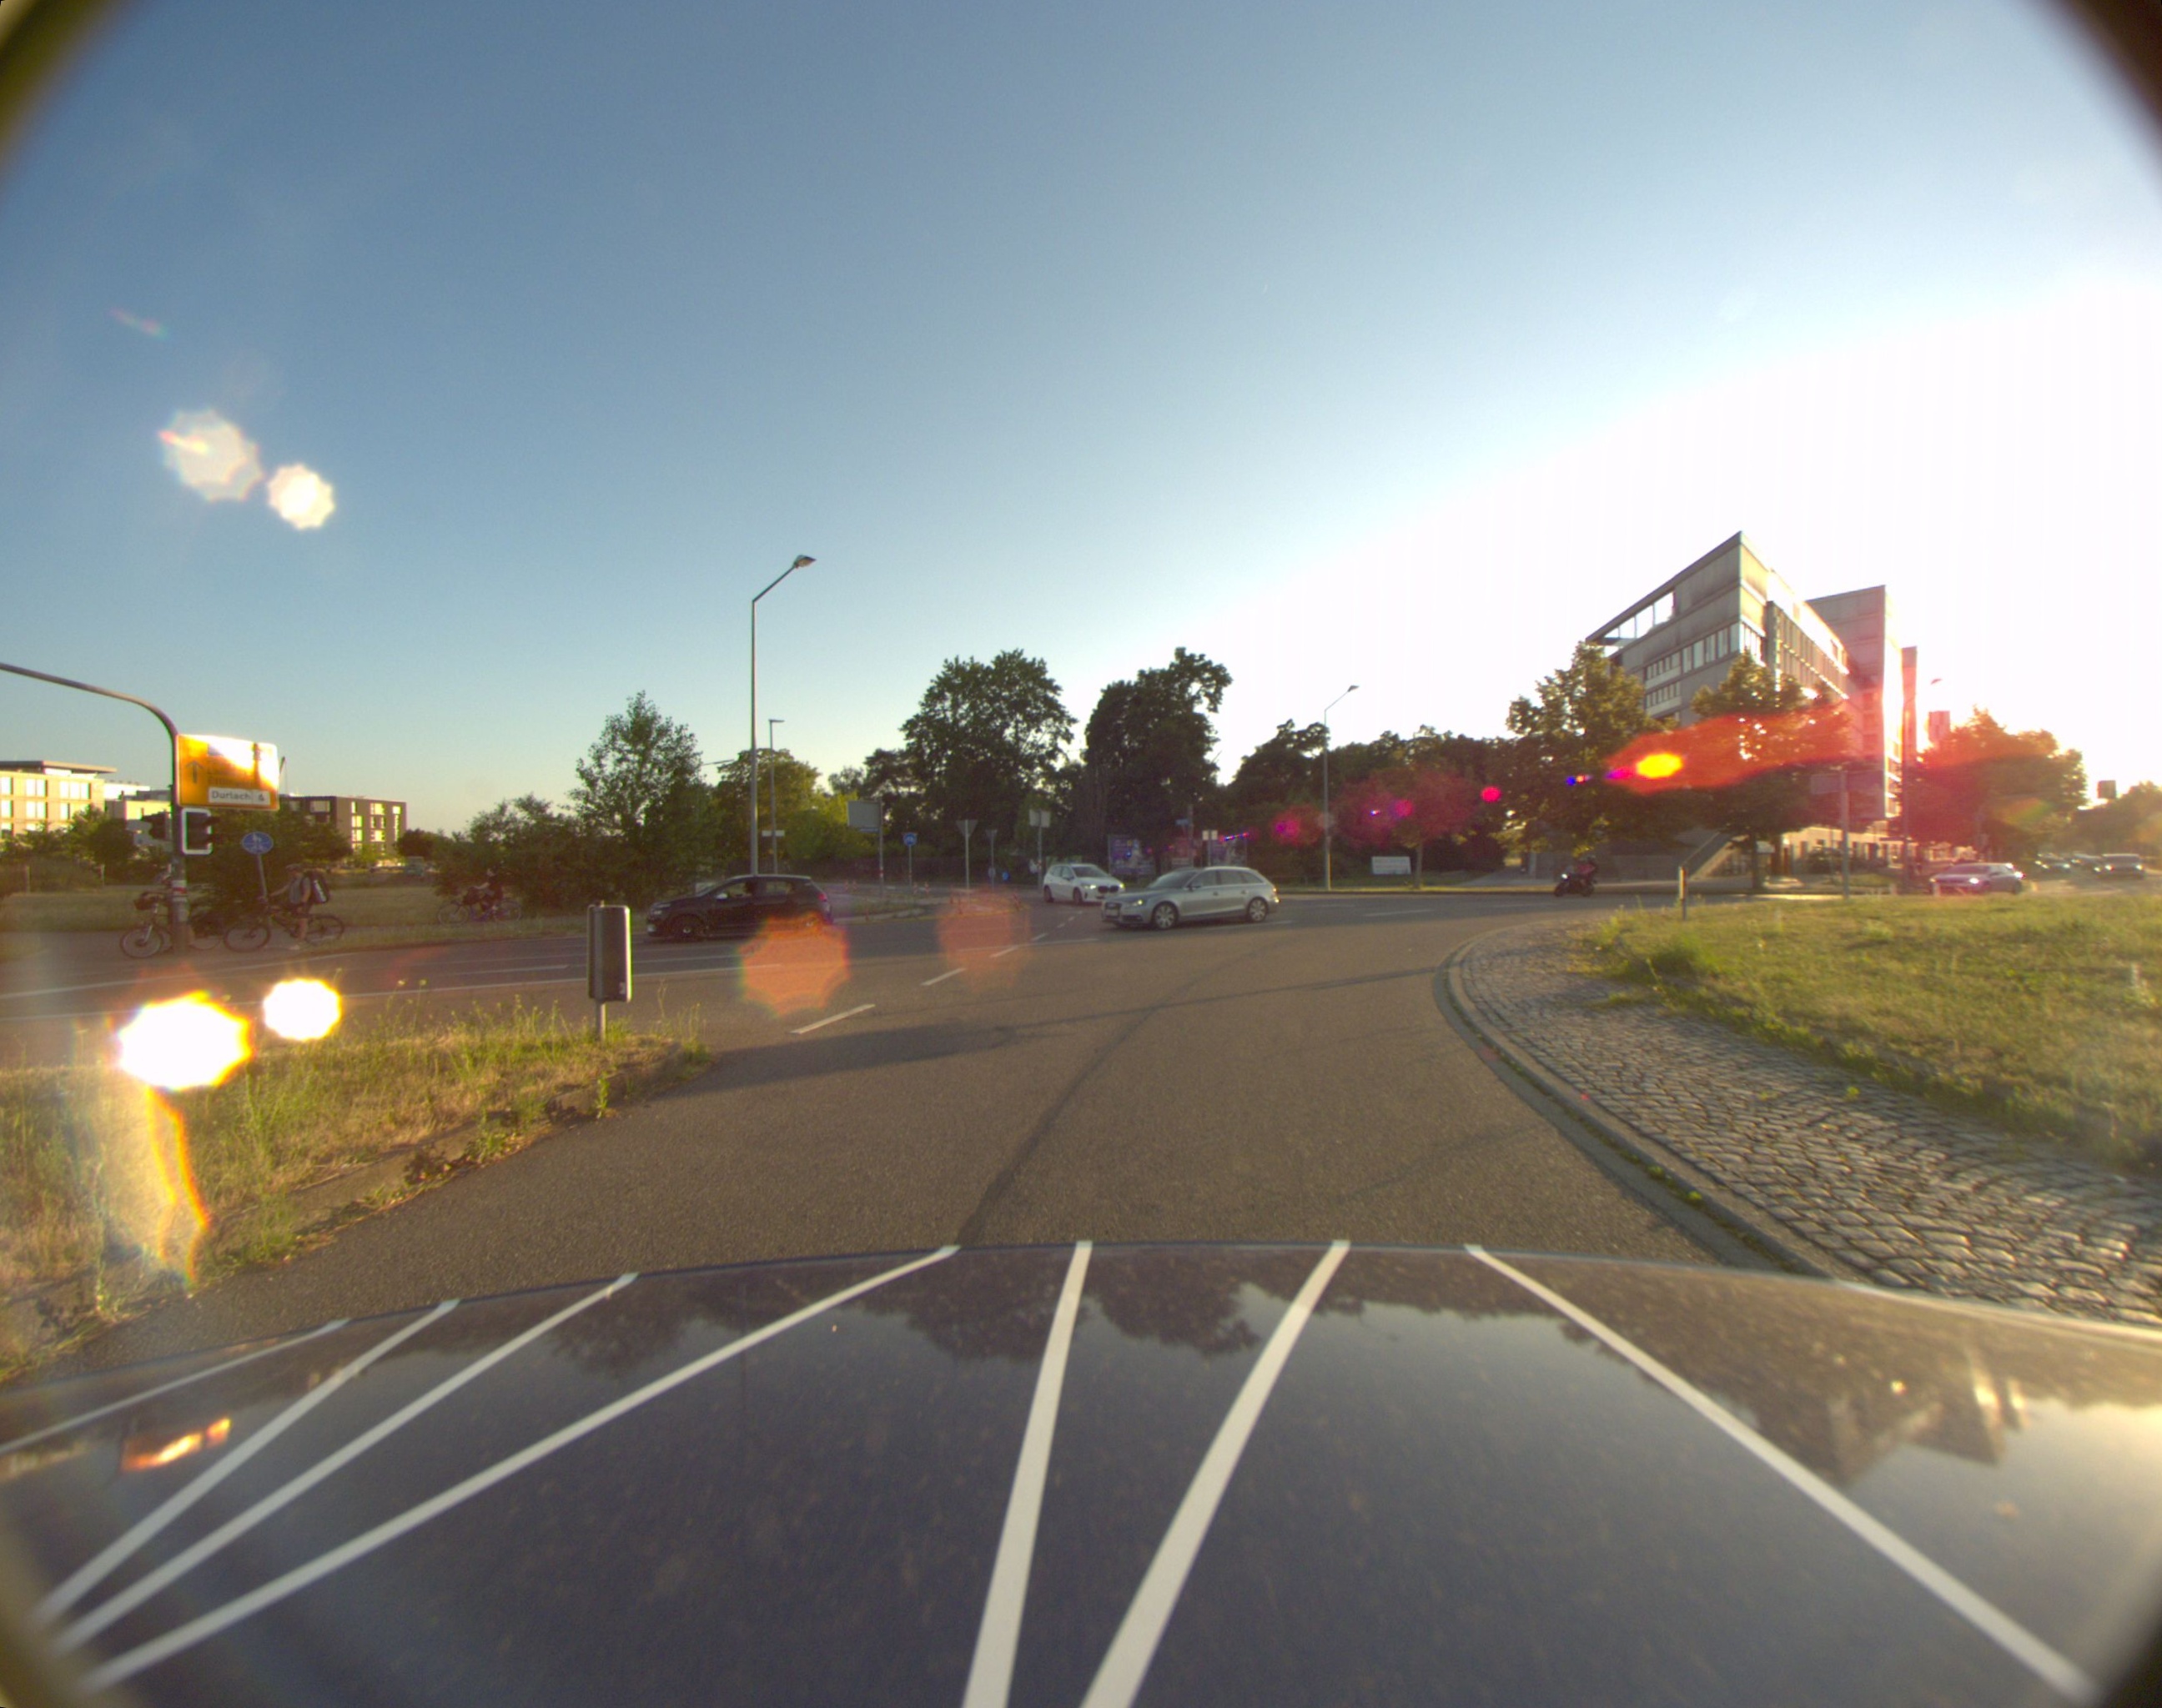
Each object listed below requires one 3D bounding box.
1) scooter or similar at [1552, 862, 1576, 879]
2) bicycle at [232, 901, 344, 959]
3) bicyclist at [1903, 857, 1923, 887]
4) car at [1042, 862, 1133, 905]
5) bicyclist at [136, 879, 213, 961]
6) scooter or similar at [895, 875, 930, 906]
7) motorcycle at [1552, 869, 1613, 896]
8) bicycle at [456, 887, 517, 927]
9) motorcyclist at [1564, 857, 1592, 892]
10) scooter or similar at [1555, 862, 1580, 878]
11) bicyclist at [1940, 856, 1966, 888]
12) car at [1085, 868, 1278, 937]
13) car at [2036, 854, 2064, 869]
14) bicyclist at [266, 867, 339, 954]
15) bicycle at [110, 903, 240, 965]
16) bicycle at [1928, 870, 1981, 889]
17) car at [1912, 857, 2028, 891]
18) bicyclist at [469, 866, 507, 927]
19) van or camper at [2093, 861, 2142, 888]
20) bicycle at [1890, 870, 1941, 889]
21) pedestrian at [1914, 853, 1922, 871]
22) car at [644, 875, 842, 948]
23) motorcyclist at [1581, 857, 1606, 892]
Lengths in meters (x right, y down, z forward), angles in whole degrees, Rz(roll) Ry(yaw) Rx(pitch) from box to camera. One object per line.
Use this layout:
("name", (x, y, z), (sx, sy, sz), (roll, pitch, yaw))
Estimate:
("scooter or similar", (36.751, 1.243, 57.786), (0.367, 1.213, 1.573), (0, 0, -29))
("bicycle", (-17.827, 1.678, 17.151), (0.456, 1.079, 1.928), (0, 1, 0))
("bicyclist", (45.695, 0.991, 41.721), (0.682, 1.638, 0.685), (0, 0, 42))
("car", (0.170, 1.109, 29.803), (1.894, 1.549, 4.086), (0, 0, -27))
("bicyclist", (-19.702, 1.413, 16.530), (0.641, 1.693, 0.769), (0, 3, -1))
("scooter or similar", (-6.663, 1.441, 30.155), (0.441, 1.156, 1.386), (0, 0, 37))
("motorcycle", (20.739, 1.170, 31.438), (2.159, 1.094, 0.558), (-1, 0, -2))
("bicycle", (-17.340, 1.523, 22.176), (1.375, 1.082, 0.279), (0, 0, -40))
("motorcyclist", (20.543, 0.846, 31.420), (0.714, 1.408, 0.688), (-1, 0, -2))
("scooter or similar", (37.129, 1.228, 57.994), (0.367, 1.213, 1.573), (0, 0, -29))
("bicyclist", (47.798, 0.987, 41.646), (0.805, 1.745, 0.847), (0, 0, -32))
("car", (2.472, 1.079, 18.227), (4.456, 1.414, 1.799), (0, 0, -32))
("car", (101.742, 0.792, 79.804), (4.008, 1.455, 1.798), (0, -1, -39))
("bicyclist", (-17.693, 1.259, 17.284), (0.641, 1.887, 0.909), (0, 2, -1))
("bicycle", (-19.678, 1.702, 16.574), (0.456, 1.079, 1.927), (0, 2, 0))
("bicycle", (48.048, 1.401, 41.822), (0.438, 1.016, 1.859), (0, 0, -32))
("car", (41.423, 0.899, 35.414), (4.053, 1.472, 1.890), (-1, 0, -14))
("bicyclist", (-17.309, 1.233, 22.179), (0.846, 1.733, 0.535), (-1, 0, -41))
("van or camper", (81.581, 1.578, 59.796), (5.338, 1.946, 1.995), (-1, 0, -33))
("bicycle", (45.615, 1.374, 41.572), (1.858, 1.016, 0.309), (-1, 0, 41))
("pedestrian", (93.391, 0.924, 84.767), (0.528, 2.002, 0.537), (0, 0, -39))
("car", (-7.783, 1.248, 17.629), (4.006, 1.455, 1.799), (0, 0, -28))
("motorcyclist", (21.209, 0.843, 31.460), (0.594, 1.400, 0.636), (-1, 0, -3))
